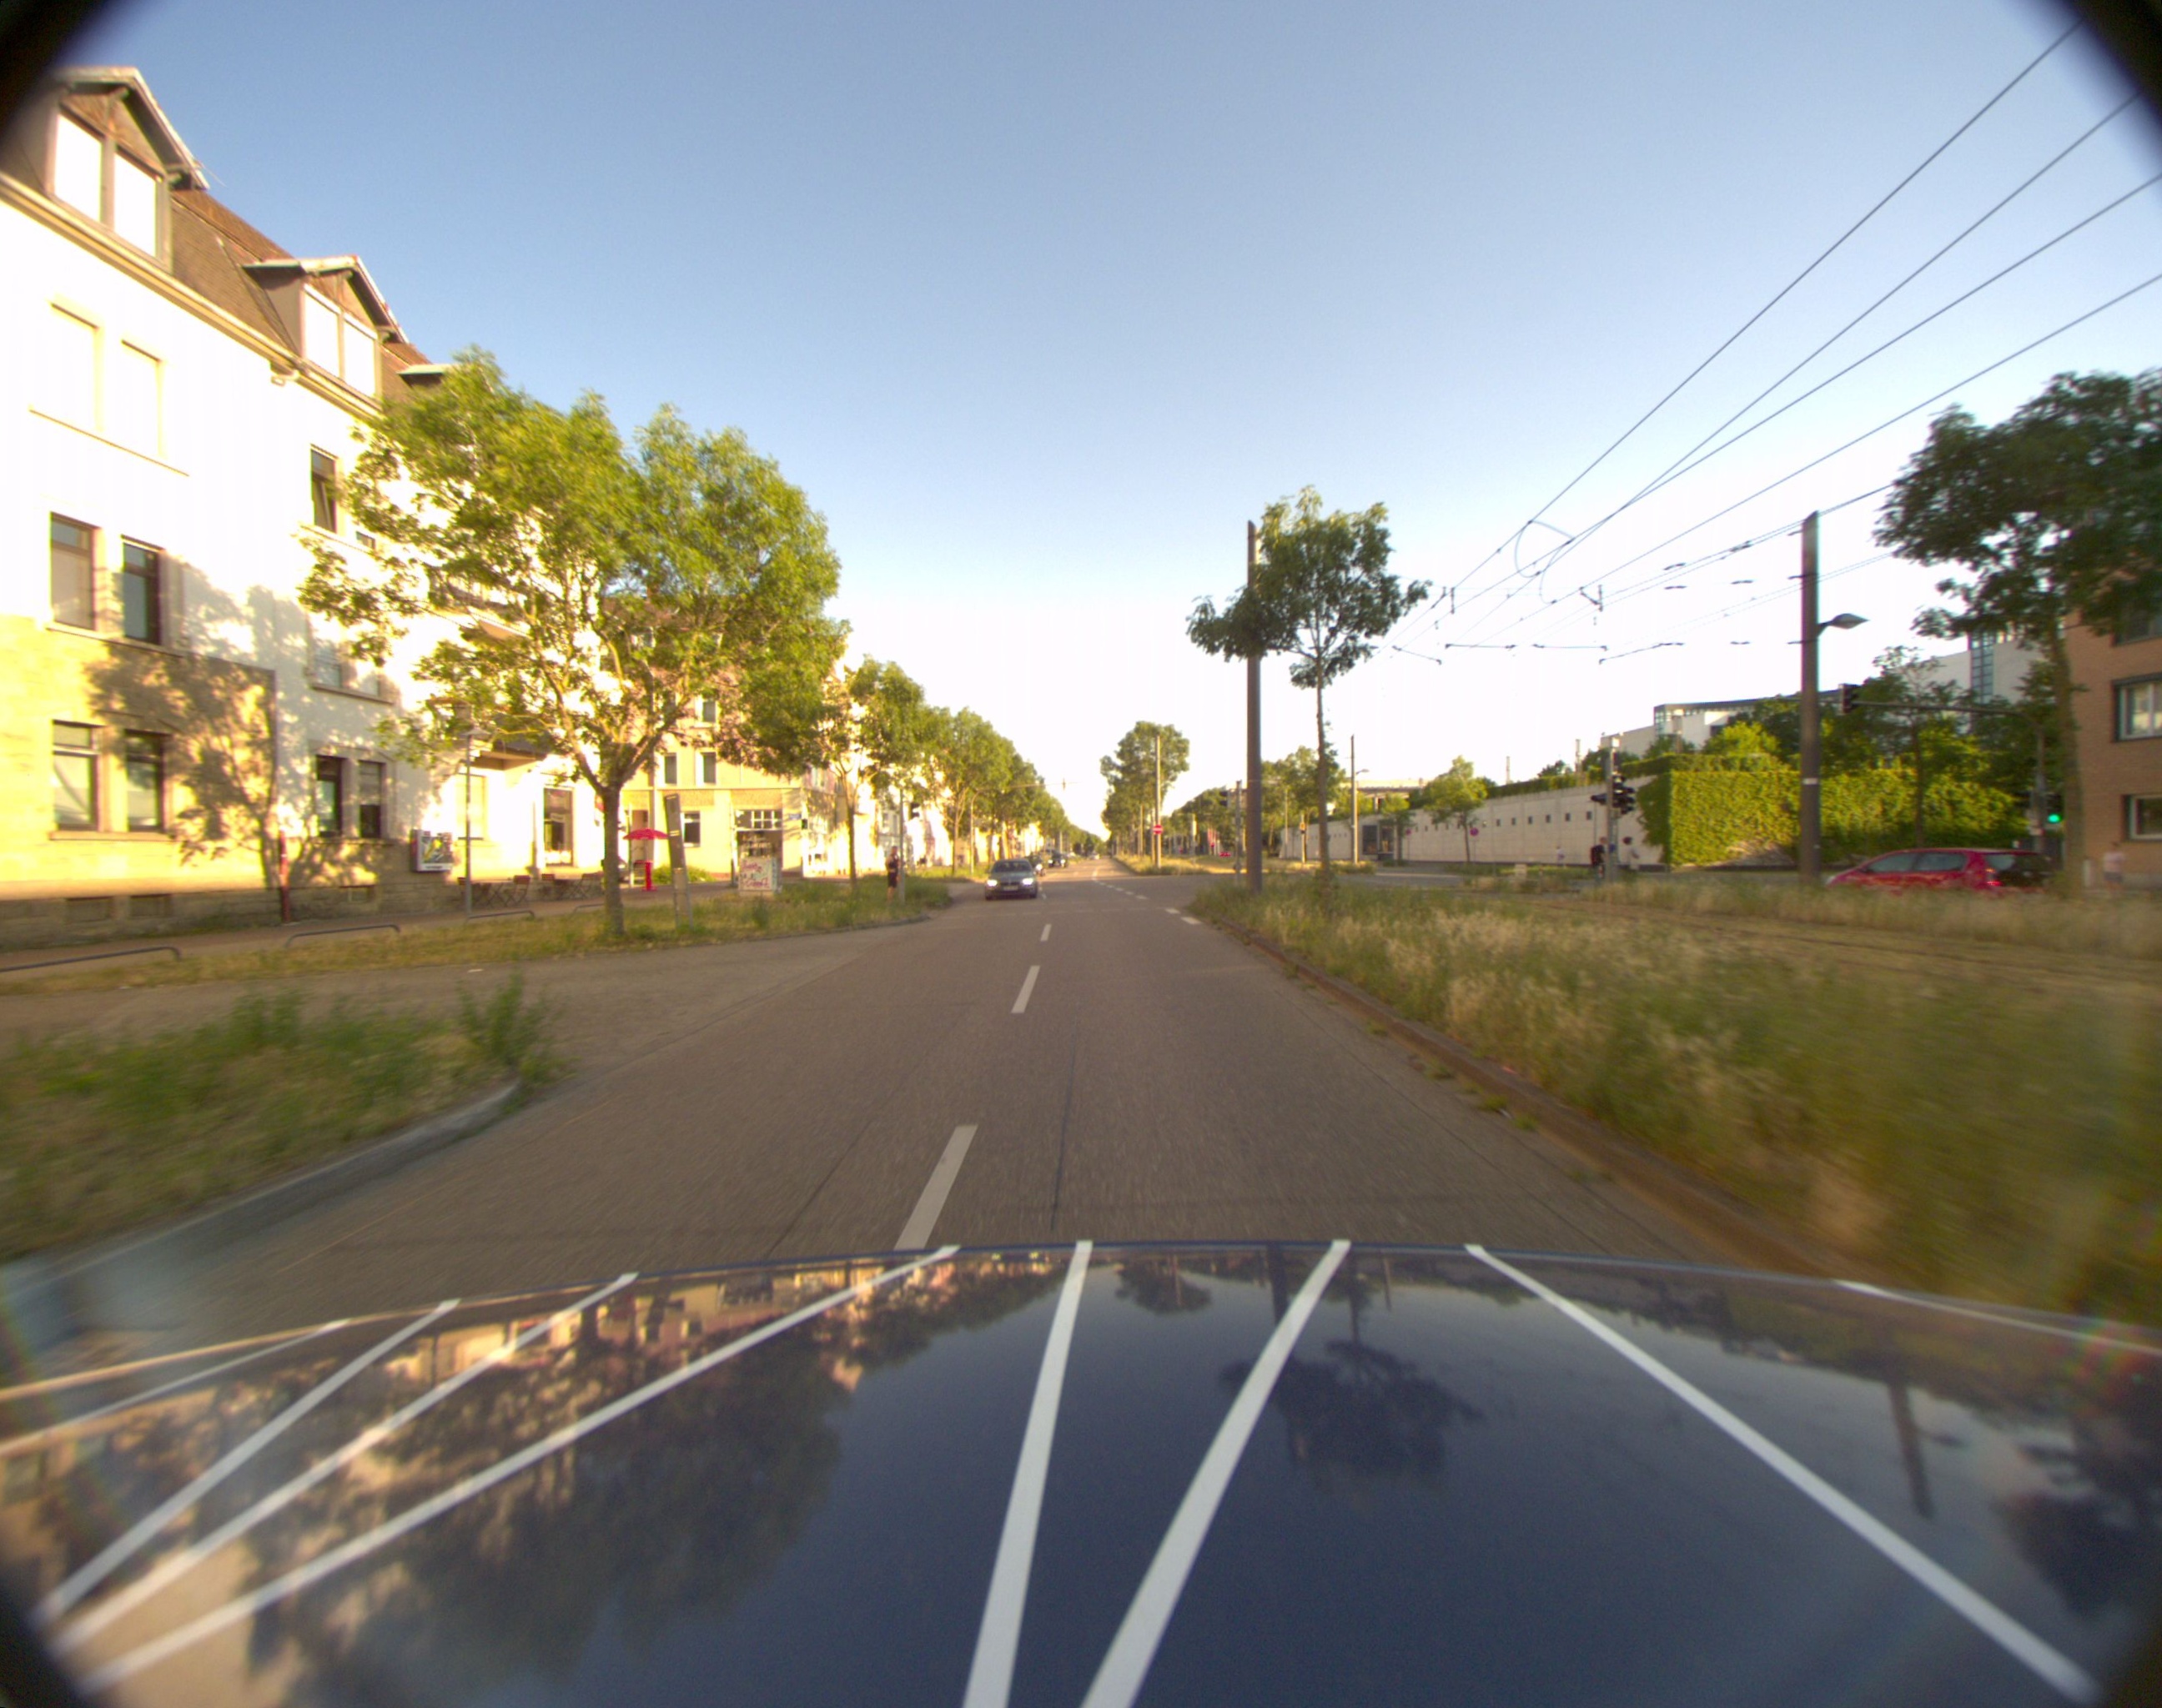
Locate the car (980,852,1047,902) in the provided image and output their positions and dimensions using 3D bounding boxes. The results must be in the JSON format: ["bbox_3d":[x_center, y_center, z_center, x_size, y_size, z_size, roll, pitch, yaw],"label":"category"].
[{"bbox_3d":[-2.475,0.797,28.728,1.998,1.655,4.000,-3,1,2],"label":"car"}]

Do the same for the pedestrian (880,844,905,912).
[{"bbox_3d":[-5.611,0.704,22.650,0.514,2.002,0.599,-1,1,2],"label":"pedestrian"}]

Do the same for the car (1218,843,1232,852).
[{"bbox_3d":[24.964,-1.138,132.152,1.794,1.368,4.000,-1,1,1],"label":"car"}]

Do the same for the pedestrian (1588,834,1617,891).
[{"bbox_3d":[15.724,0.249,22.905,0.515,1.675,0.548,-2,1,-28],"label":"pedestrian"}]

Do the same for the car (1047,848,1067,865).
[{"bbox_3d":[-2.515,0.252,80.345,1.998,1.583,3.999,-2,1,0],"label":"car"}]

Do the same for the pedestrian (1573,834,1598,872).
[{"bbox_3d":[27.072,-0.054,40.772,0.730,2.002,0.867,-1,1,-12],"label":"pedestrian"}]

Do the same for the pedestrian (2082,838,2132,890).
[{"bbox_3d":[27.525,0.254,20.391,0.587,1.359,0.575,-1,1,-4],"label":"pedestrian"}]

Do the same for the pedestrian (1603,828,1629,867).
[{"bbox_3d":[28.365,-0.349,40.278,0.730,2.002,0.867,-1,1,-12],"label":"pedestrian"}]

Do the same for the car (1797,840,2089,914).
[{"bbox_3d":[18.150,0.417,16.347,1.794,1.368,4.000,-1,1,1],"label":"car"}]

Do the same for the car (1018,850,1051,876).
[{"bbox_3d":[-3.179,0.585,52.519,1.998,1.583,3.999,-2,1,0],"label":"car"}]

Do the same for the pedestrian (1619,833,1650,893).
[{"bbox_3d":[15.939,0.256,21.883,0.515,1.675,0.548,-2,1,-28],"label":"pedestrian"}]
